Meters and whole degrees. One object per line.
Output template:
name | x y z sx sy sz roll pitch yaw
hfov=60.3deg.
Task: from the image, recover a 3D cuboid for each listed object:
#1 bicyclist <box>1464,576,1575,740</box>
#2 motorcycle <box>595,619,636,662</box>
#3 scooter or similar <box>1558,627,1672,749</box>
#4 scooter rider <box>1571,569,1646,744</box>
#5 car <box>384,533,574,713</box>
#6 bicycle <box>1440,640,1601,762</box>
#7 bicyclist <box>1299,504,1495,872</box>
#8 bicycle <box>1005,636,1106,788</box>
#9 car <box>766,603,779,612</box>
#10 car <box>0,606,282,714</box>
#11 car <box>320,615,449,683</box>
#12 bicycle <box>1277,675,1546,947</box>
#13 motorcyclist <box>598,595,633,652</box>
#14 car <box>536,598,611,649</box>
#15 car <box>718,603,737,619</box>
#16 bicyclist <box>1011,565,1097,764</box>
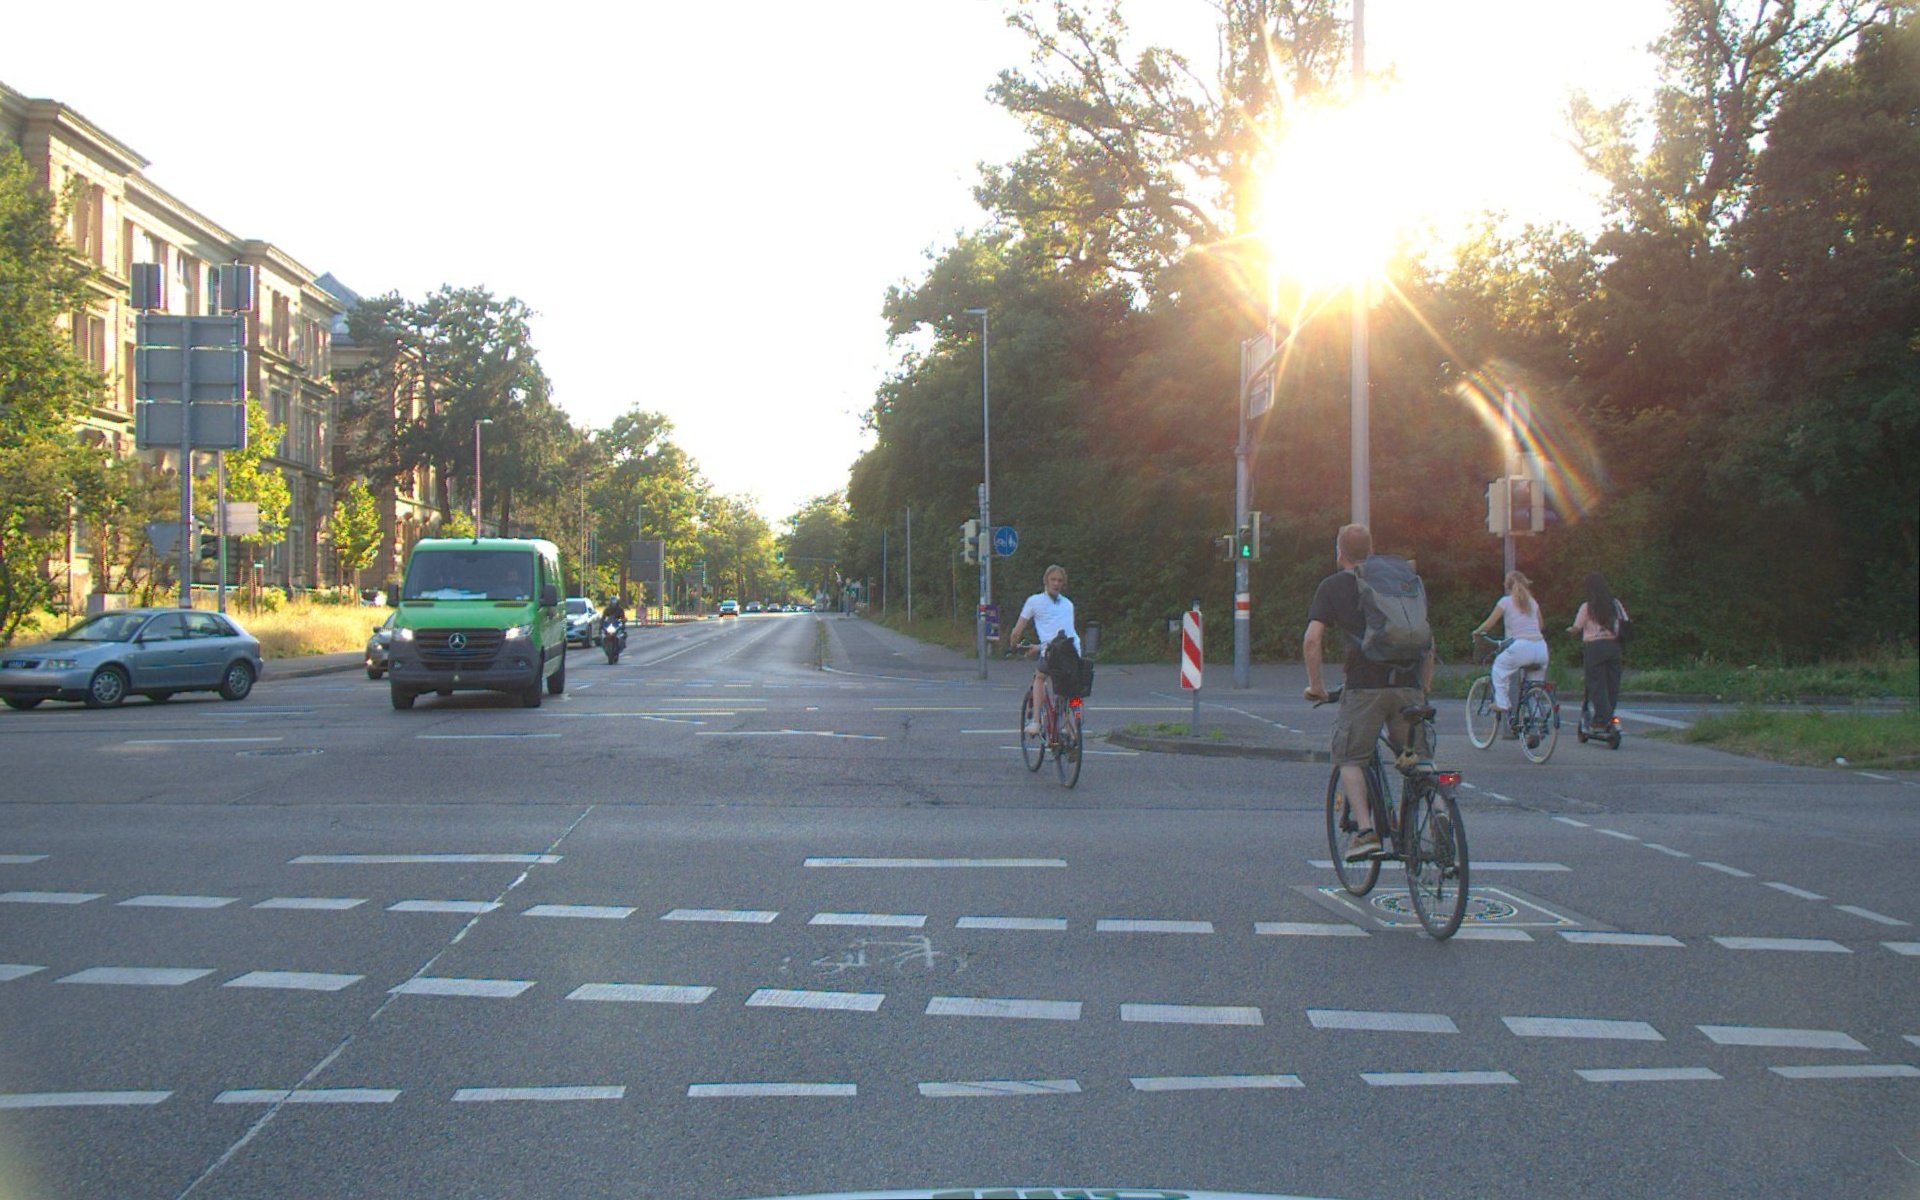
bicyclist | 5.405 0.547 16.010 0.744 1.544 0.856 0 0 -4
motorcycle | -8.413 0.972 40.453 0.739 1.019 1.877 0 0 -4
scooter or similar | 6.774 0.885 17.160 0.550 1.210 1.421 0 -1 -3
scooter rider | 6.770 0.579 17.277 0.554 1.797 0.504 0 -1 -3
car | -6.896 0.301 24.329 2.001 2.318 5.927 0 0 -10
bicycle | 5.395 0.947 16.067 0.756 1.024 2.015 1 1 -4
bicyclist | 2.111 0.412 8.072 0.685 1.696 0.797 1 -1 -4
bicycle | 0.780 0.905 13.969 0.601 1.158 1.882 1 0 -4
car | -29.176 1.189 257.192 1.955 1.288 3.994 0 0 -7
car | -12.199 0.813 24.465 1.694 1.433 4.141 0 0 19
car | -12.223 1.010 35.355 1.730 1.351 3.640 0 0 -4
bicycle | 2.110 0.945 7.991 0.685 1.081 1.824 1 0 -4
motorcyclist | -8.409 0.573 40.368 0.735 1.382 0.703 0 -1 -5
car | -13.040 0.778 56.024 1.730 1.664 4.509 0 0 -4
car | -21.837 1.028 155.428 1.737 1.500 3.769 0 0 -8
bicyclist | 0.779 0.525 13.854 0.592 1.613 0.909 1 0 -5
